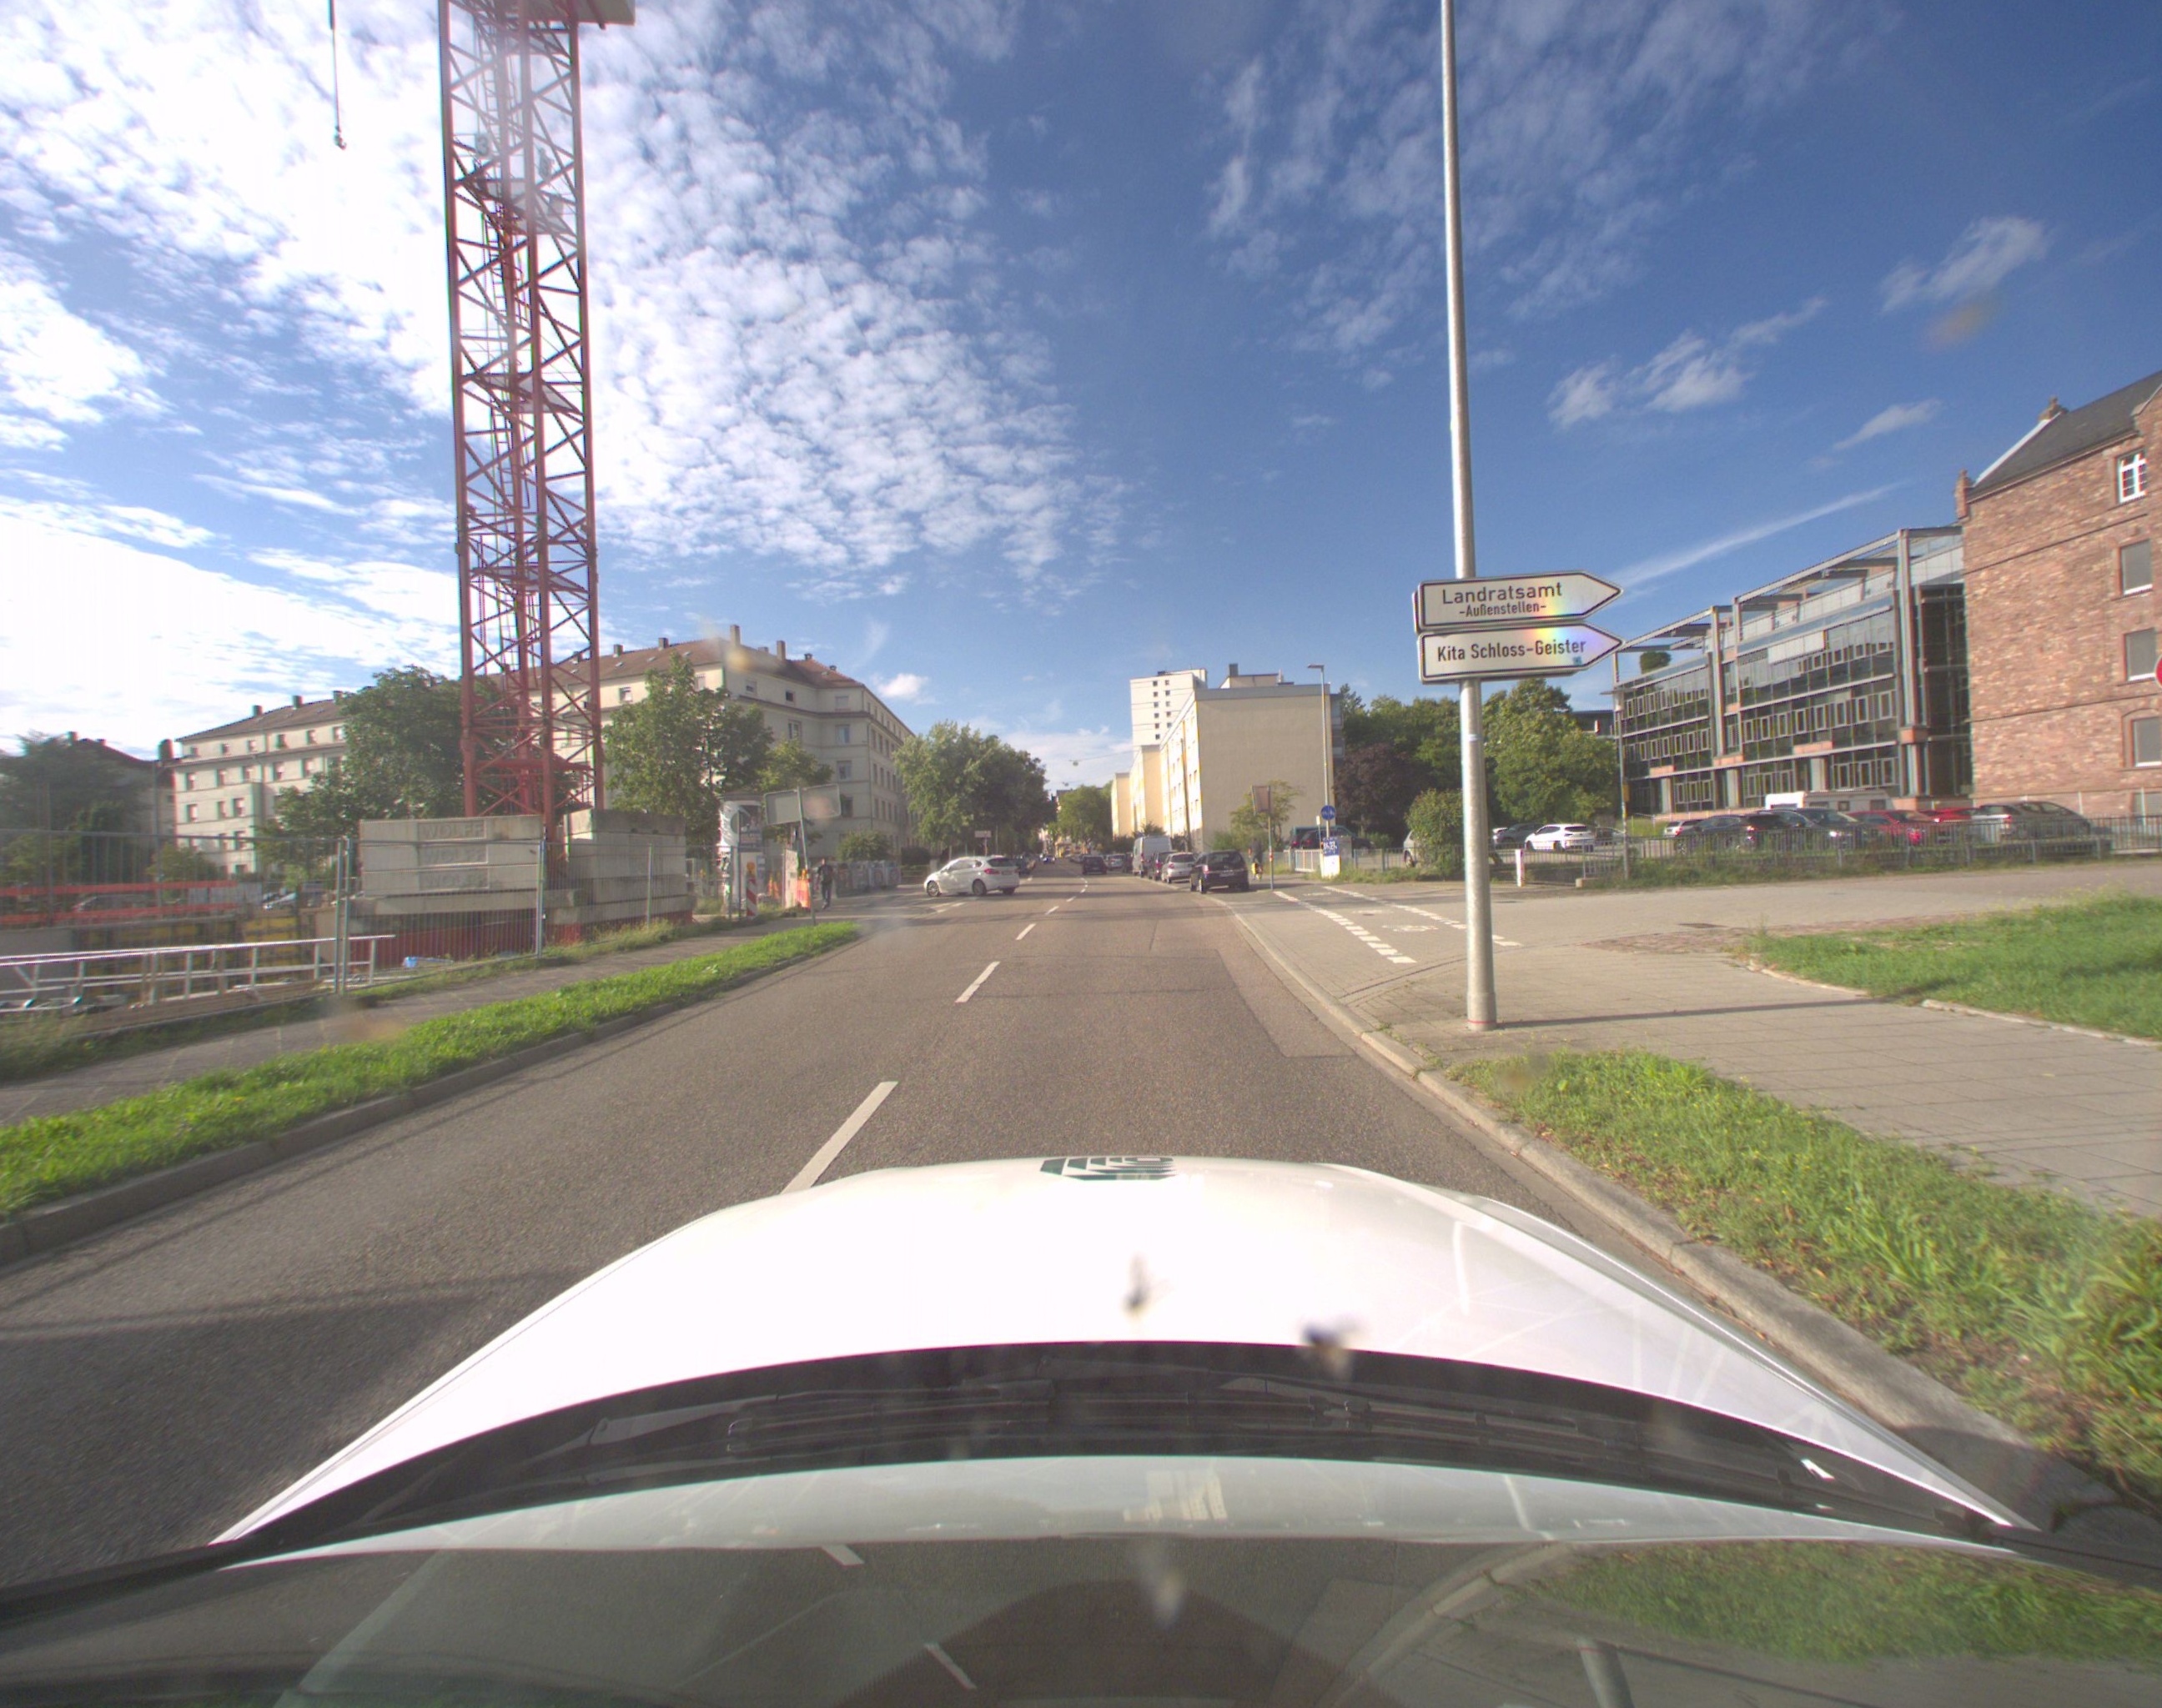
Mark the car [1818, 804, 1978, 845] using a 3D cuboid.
[{"bbox_3d":[29.687,-1.053,29.769,1.706,1.265,3.953,-4,2,-4],"label":"car"}]

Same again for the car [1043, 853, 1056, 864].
[{"bbox_3d":[-5.505,0.759,142.359,2.053,1.663,3.918,-4,0,-6],"label":"car"}]

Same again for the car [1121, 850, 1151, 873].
[{"bbox_3d":[4.211,0.559,63.266,1.987,1.574,3.999,-3,0,0],"label":"car"}]

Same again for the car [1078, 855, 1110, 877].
[{"bbox_3d":[0.949,0.878,62.474,1.991,1.570,3.992,-2,0,-5],"label":"car"}]

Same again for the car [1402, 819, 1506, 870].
[{"bbox_3d":[13.835,-0.341,30.504,1.986,1.665,4.152,-3,0,1],"label":"car"}]

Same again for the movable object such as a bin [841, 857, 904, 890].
[{"bbox_3d":[-11.605,1.076,45.372,3.081,1.708,1.416,-2,-1,14],"label":"movable object such as a bin"}]

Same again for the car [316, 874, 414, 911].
[{"bbox_3d":[-43.214,2.273,49.286,1.980,2.014,4.014,-2,-1,13],"label":"car"}]

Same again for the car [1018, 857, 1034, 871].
[{"bbox_3d":[-6.691,1.208,98.913,1.805,1.561,3.427,-4,0,-6],"label":"car"}]

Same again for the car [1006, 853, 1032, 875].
[{"bbox_3d":[-5.217,0.812,68.557,1.991,1.640,3.992,-3,0,-6],"label":"car"}]

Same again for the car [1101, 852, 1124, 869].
[{"bbox_3d":[3.118,0.671,81.641,1.987,1.530,3.999,-3,0,0],"label":"car"}]

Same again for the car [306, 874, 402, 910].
[{"bbox_3d":[-45.300,2.350,50.864,1.980,2.014,4.014,-2,-1,13],"label":"car"}]

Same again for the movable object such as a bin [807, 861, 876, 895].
[{"bbox_3d":[-12.507,1.243,42.592,3.080,1.708,1.554,-2,-1,15],"label":"movable object such as a bin"}]

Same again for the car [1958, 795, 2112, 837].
[{"bbox_3d":[39.407,-1.546,33.732,3.973,1.442,2.000,-3,0,0],"label":"car"}]

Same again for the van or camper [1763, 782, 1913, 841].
[{"bbox_3d":[38.462,-2.134,41.500,5.225,2.556,2.595,-3,0,-2],"label":"van or camper"}]

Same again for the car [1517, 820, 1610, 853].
[{"bbox_3d":[24.146,-0.849,40.957,1.991,1.442,3.991,-3,0,-7],"label":"car"}]

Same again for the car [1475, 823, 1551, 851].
[{"bbox_3d":[29.008,-1.137,54.797,3.975,1.596,1.999,-3,0,-1],"label":"car"}]

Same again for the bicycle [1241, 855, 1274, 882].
[{"bbox_3d":[7.404,0.589,34.340,0.738,1.034,2.762,-5,-1,0],"label":"bicycle"}]

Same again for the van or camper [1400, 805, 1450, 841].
[{"bbox_3d":[30.979,-2.752,73.605,2.320,2.874,5.125,-6,0,3],"label":"van or camper"}]

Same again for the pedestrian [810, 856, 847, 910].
[{"bbox_3d":[-8.415,0.957,27.181,1.007,1.728,1.173,-2,-1,-12],"label":"pedestrian"}]

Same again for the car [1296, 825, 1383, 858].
[{"bbox_3d":[14.981,-0.715,47.442,4.429,1.621,2.002,-3,0,4],"label":"car"}]

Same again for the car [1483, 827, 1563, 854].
[{"bbox_3d":[28.305,-0.849,52.228,3.975,1.486,1.999,-3,0,-1],"label":"car"}]

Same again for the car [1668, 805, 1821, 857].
[{"bbox_3d":[24.002,-0.774,29.715,1.843,1.589,4.608,-4,-1,2],"label":"car"}]

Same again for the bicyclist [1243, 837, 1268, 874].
[{"bbox_3d":[7.354,0.063,34.366,0.735,1.513,0.874,-5,-1,0],"label":"bicyclist"}]

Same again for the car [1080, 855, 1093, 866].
[{"bbox_3d":[0.874,1.053,129.754,1.987,1.684,3.999,-3,0,0],"label":"car"}]

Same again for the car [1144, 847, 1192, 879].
[{"bbox_3d":[4.877,0.504,46.302,1.989,1.615,4.404,-3,0,-3],"label":"car"}]

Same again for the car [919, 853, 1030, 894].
[{"bbox_3d":[-4.328,0.794,32.763,4.218,1.555,2.013,-2,-1,38],"label":"car"}]

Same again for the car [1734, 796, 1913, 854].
[{"bbox_3d":[26.755,-0.960,29.634,1.847,1.743,4.795,-4,-1,-4],"label":"car"}]

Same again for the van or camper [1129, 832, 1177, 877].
[{"bbox_3d":[4.551,0.019,52.340,2.205,2.607,5.365,-3,0,-3],"label":"van or camper"}]

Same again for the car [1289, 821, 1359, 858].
[{"bbox_3d":[16.348,-0.964,54.899,4.101,2.186,2.002,-3,0,3],"label":"car"}]

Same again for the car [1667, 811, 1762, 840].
[{"bbox_3d":[39.655,-1.778,51.076,4.294,1.379,1.814,-5,0,8],"label":"car"}]

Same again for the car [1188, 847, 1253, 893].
[{"bbox_3d":[4.991,0.563,29.678,1.711,1.496,4.269,-2,-1,2],"label":"car"}]

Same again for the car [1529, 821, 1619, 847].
[{"bbox_3d":[28.535,-1.157,47.259,3.967,1.310,2.003,-2,-1,5],"label":"car"}]

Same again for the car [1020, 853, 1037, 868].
[{"bbox_3d":[-7.404,0.879,115.282,1.987,2.013,3.999,-3,0,0],"label":"car"}]

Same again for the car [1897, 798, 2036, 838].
[{"bbox_3d":[39.441,-1.579,36.361,3.973,1.442,2.000,-3,0,0],"label":"car"}]

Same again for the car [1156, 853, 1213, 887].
[{"bbox_3d":[5.092,0.792,40.812,2.010,1.475,4.798,-4,-1,-2],"label":"car"}]

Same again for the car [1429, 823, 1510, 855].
[{"bbox_3d":[19.585,-0.705,41.257,1.989,1.442,3.997,-3,0,-2],"label":"car"}]

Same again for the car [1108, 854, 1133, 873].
[{"bbox_3d":[3.521,0.868,73.819,1.987,1.574,3.999,-3,0,0],"label":"car"}]

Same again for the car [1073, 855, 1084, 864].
[{"bbox_3d":[-0.505,1.050,160.608,1.986,1.755,4.001,-2,-1,1],"label":"car"}]
